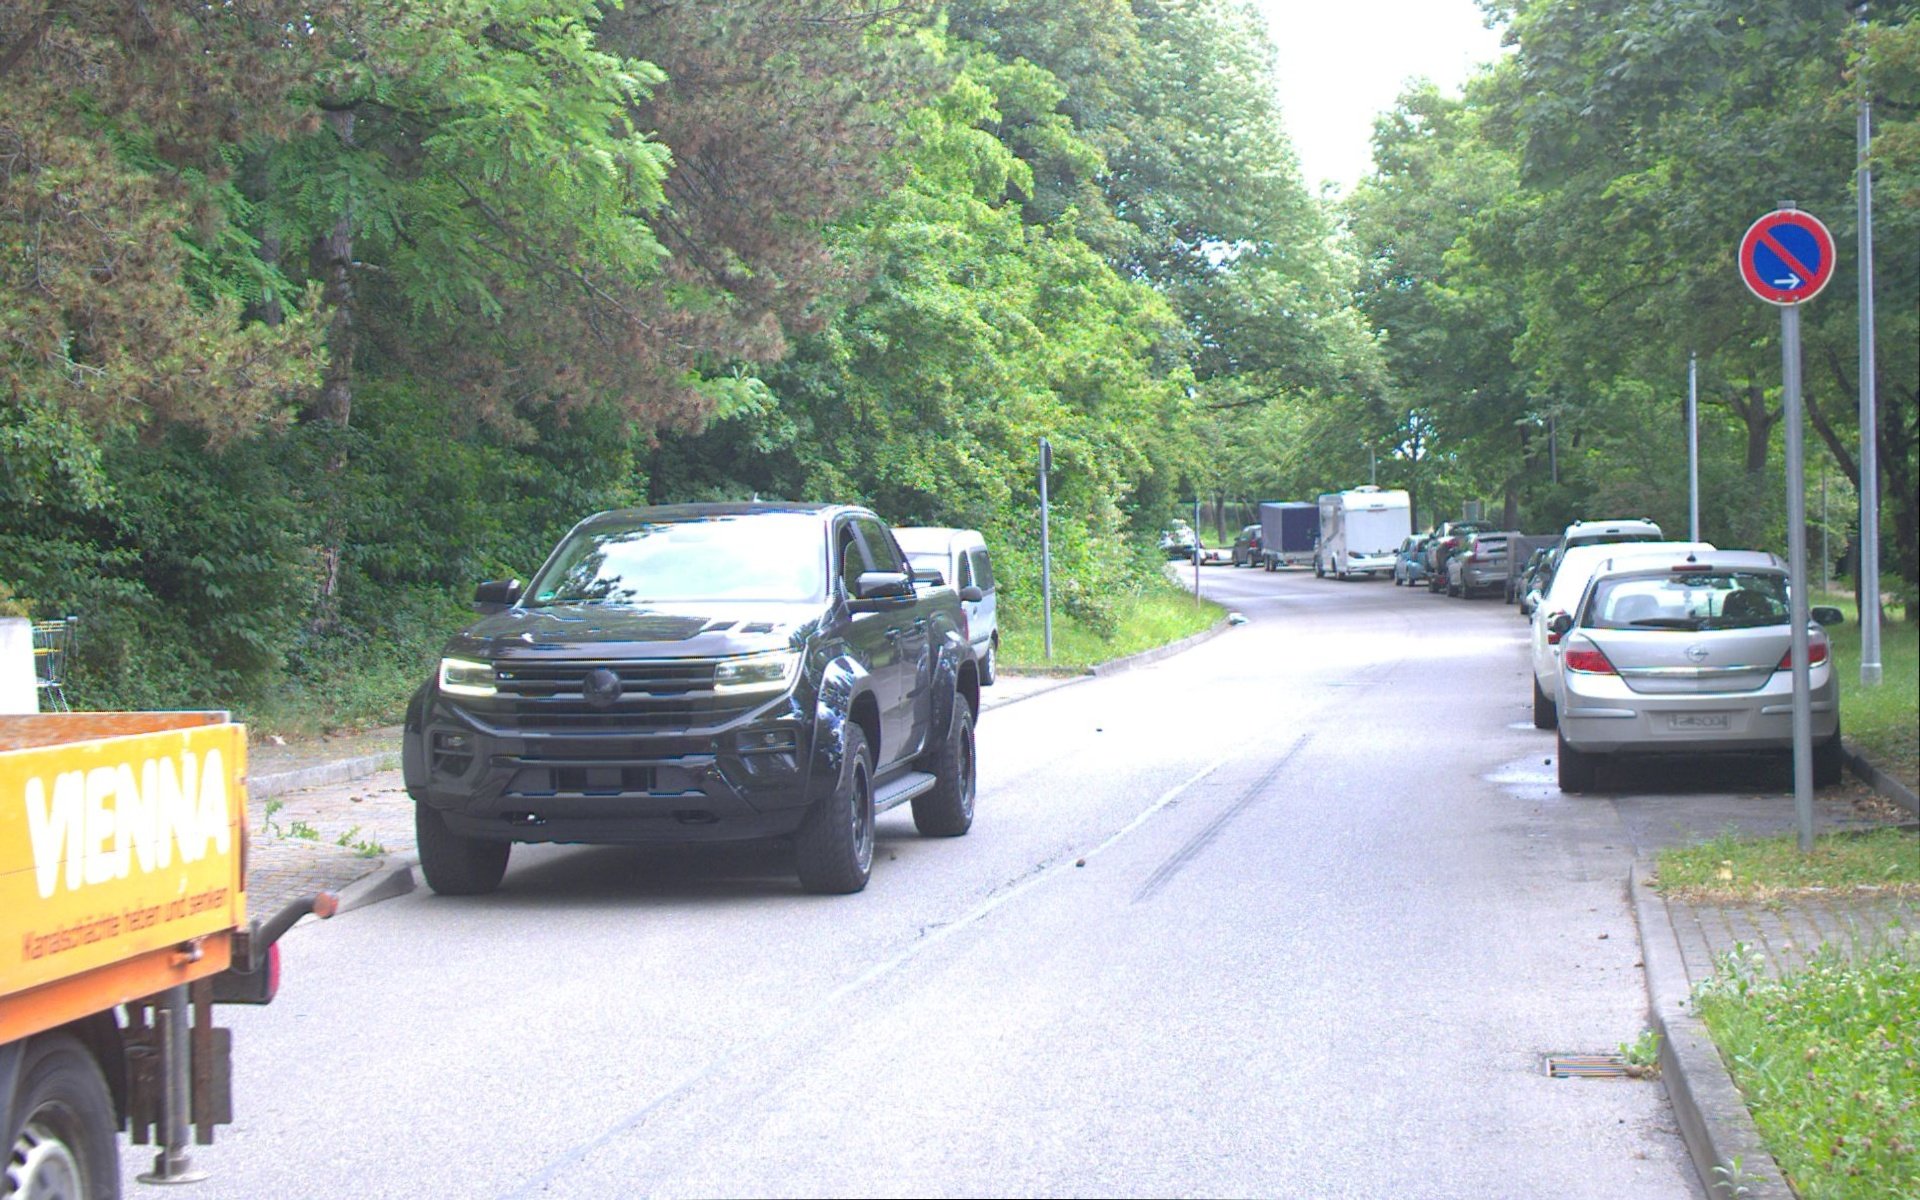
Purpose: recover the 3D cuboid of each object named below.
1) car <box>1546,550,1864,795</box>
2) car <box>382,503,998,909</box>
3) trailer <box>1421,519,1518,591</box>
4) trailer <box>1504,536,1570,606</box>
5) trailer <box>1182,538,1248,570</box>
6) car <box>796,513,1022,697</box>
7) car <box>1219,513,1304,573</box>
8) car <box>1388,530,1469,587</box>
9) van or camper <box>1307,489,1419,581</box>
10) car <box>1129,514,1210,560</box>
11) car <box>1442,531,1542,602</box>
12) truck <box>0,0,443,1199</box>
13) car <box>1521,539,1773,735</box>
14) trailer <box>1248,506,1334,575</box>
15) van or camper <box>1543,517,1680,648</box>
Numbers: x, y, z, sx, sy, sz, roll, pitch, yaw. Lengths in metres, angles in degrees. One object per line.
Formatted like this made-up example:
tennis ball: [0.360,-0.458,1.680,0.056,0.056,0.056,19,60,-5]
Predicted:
car: [4.747,0.404,22.236,1.793,1.406,4.057,-2,1,11]
car: [-1.149,0.432,17.472,1.994,1.730,5.335,-1,1,8]
trailer: [13.745,-1.243,92.996,1.979,1.805,5.149,-2,2,2]
trailer: [13.453,-0.680,80.227,1.279,1.579,2.460,-1,1,5]
trailer: [9.844,-1.797,133.041,1.651,1.083,4.001,-4,2,-8]
car: [-0.514,-0.004,38.669,1.722,1.915,4.103,1,2,11]
car: [11.290,-2.169,129.107,1.993,2.019,4.002,-4,3,-11]
car: [13.916,-1.250,102.220,1.800,1.556,3.836,-2,2,-1]
van or camper: [13.153,-2.127,112.776,2.482,2.866,6.890,-1,1,-3]
car: [8.645,-2.619,142.281,2.034,1.797,4.084,-2,2,-16]
car: [13.381,-0.819,86.667,1.792,1.664,4.502,-2,0,0]
truck: [-2.724,0.173,4.670,2.323,2.461,6.018,1,1,8]
car: [5.818,0.251,29.600,1.887,1.501,5.174,-1,1,9]
trailer: [11.887,-2.128,123.616,1.993,2.390,4.001,-2,1,-11]
van or camper: [9.584,-0.228,50.837,1.802,1.831,4.319,-1,-1,9]
